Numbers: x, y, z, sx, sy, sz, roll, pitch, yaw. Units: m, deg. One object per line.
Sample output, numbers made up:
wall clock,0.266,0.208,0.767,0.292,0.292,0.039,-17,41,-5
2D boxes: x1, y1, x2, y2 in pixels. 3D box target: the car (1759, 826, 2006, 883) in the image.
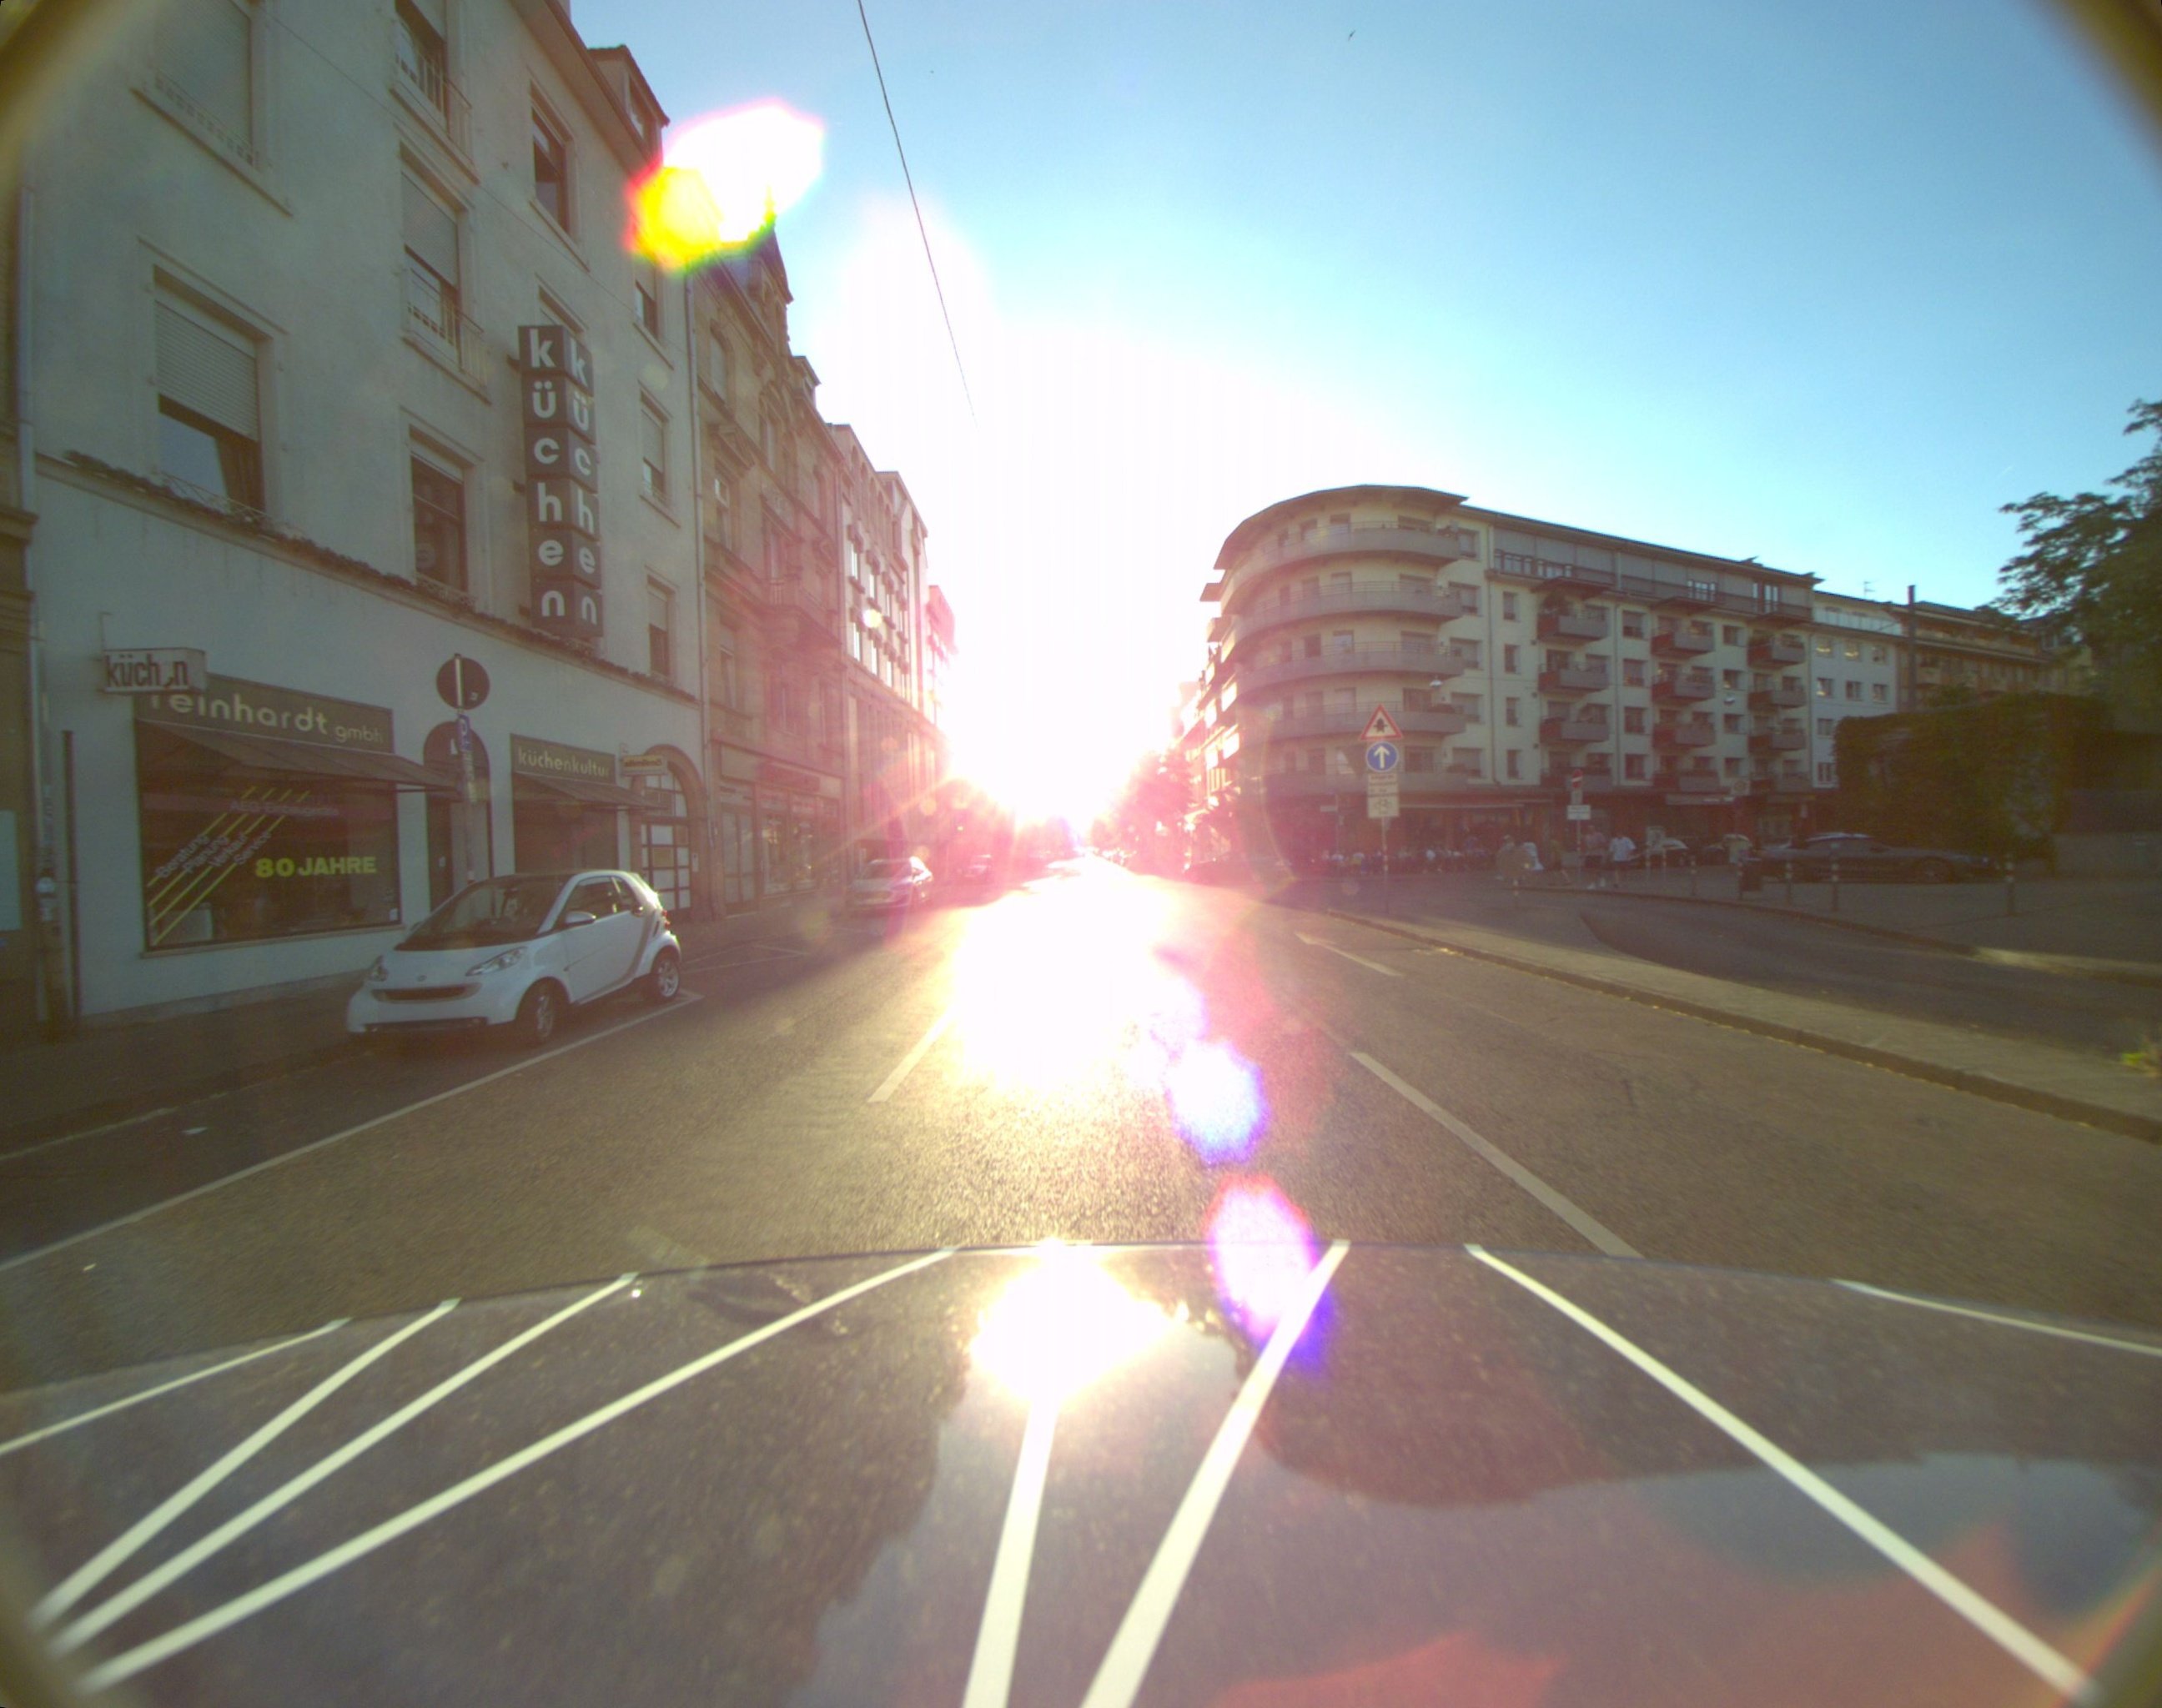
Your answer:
car,22.631,0.045,21.675,2.110,1.422,4.440,-2,-1,-29

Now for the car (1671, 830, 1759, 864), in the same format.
car,34.103,-0.374,40.883,4.142,1.689,1.882,-2,0,-23

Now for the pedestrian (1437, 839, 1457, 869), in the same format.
pedestrian,17.846,0.014,37.052,0.562,1.426,0.666,-2,3,-26

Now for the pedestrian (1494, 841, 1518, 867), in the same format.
pedestrian,21.146,0.004,37.806,0.850,1.271,0.715,0,5,45

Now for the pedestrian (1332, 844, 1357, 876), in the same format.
pedestrian,11.693,0.243,33.748,0.768,1.374,0.841,0,3,41

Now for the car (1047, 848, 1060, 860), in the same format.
car,-3.987,-0.021,111.560,1.756,1.543,4.286,-2,1,0

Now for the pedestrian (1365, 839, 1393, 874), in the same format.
pedestrian,13.465,0.108,34.318,0.854,1.528,0.712,-2,5,-22

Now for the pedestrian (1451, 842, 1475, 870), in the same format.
pedestrian,18.257,0.086,36.324,0.750,1.337,0.654,-2,3,-26

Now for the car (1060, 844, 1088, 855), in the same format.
car,-1.237,-0.799,137.549,4.836,2.002,2.004,-1,1,37

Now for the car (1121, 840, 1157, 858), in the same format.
car,6.991,-0.650,92.043,3.998,2.002,1.999,-2,1,-2

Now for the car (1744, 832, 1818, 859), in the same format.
car,40.294,-0.489,43.714,3.972,1.395,1.750,-2,0,-25

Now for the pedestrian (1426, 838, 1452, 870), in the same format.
pedestrian,17.290,0.011,36.684,0.680,1.527,0.851,-2,0,-26

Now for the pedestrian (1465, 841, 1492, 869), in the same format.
pedestrian,19.255,0.052,36.821,0.852,1.298,0.878,-2,2,-4

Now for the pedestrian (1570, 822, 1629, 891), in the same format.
pedestrian,14.676,0.070,21.515,0.891,1.872,0.983,-2,0,-21

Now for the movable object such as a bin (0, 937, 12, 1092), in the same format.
movable object such as a bin,-8.683,1.242,5.137,0.868,1.180,1.398,-2,1,1

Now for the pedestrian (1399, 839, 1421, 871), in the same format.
pedestrian,15.793,0.042,36.451,0.655,1.528,0.674,-2,3,-25

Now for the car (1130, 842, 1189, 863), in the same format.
car,6.168,-0.124,59.874,4.442,1.533,1.817,-2,1,-1

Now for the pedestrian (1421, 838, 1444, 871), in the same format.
pedestrian,16.680,0.017,36.070,0.701,1.519,0.649,-2,5,-27

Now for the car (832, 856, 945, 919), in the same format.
car,-5.290,0.878,21.553,1.999,1.526,4.682,-2,-1,0

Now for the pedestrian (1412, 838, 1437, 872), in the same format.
pedestrian,16.070,0.038,35.549,0.760,1.528,0.712,-2,5,-27

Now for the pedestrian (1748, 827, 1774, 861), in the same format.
pedestrian,37.740,-0.540,42.190,1.005,1.816,0.948,-2,0,39

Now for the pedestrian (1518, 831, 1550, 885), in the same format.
pedestrian,15.567,0.136,26.088,0.712,1.792,0.884,-2,0,43

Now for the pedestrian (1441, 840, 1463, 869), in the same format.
pedestrian,18.433,0.013,37.772,0.603,1.413,0.713,-2,0,-24

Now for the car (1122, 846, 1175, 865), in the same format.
car,5.498,0.111,62.148,3.998,1.412,1.999,-2,1,-3

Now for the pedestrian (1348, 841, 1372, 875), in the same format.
pedestrian,12.614,0.172,34.332,0.689,1.527,0.714,2,1,-7

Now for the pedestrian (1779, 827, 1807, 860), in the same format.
pedestrian,38.479,-0.552,41.052,0.704,1.717,0.919,-2,1,-28

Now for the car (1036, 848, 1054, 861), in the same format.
car,-4.440,0.047,94.695,1.999,1.543,3.999,-2,1,0

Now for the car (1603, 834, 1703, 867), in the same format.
car,29.183,-0.176,38.751,4.635,1.543,1.877,-2,0,-21

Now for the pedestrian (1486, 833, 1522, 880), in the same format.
pedestrian,16.682,0.105,29.963,0.870,1.783,0.850,-2,0,-21

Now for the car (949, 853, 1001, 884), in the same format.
car,-5.485,0.722,39.795,1.998,1.511,4.000,-1,0,1

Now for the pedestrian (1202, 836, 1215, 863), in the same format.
pedestrian,9.415,-0.317,55.978,0.730,1.937,0.804,-2,1,-5

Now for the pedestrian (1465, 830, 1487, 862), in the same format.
pedestrian,21.095,-0.433,40.570,0.669,1.710,0.717,-2,1,-24

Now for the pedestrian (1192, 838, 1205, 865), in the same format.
pedestrian,8.636,-0.212,55.823,0.730,1.937,0.740,-2,1,-5

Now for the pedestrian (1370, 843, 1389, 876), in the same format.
pedestrian,14.128,0.261,35.965,0.647,1.527,0.753,-2,0,9

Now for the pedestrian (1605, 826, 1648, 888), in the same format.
pedestrian,16.210,0.091,22.577,0.982,1.783,0.892,-2,0,37

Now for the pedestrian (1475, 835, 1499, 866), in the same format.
pedestrian,20.524,-0.159,38.420,0.851,1.527,0.716,-2,0,45

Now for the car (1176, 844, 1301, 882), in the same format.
car,6.405,0.378,31.009,4.604,1.400,1.813,-1,2,30

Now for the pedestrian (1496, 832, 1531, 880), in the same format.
pedestrian,16.466,0.064,28.938,0.737,1.783,0.811,-2,0,-21

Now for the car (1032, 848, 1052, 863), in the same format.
car,-4.440,0.144,86.895,1.999,1.543,3.999,-2,1,0

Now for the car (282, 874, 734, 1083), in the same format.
car,-5.541,1.062,8.126,1.704,1.575,4.000,-2,-1,1

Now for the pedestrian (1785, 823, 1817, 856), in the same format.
pedestrian,37.947,-0.750,40.043,0.921,1.717,0.833,-2,1,-11

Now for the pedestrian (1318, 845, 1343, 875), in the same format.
pedestrian,11.309,0.281,34.452,0.684,1.275,0.969,-1,3,42

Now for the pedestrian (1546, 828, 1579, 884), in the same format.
pedestrian,16.470,0.088,25.996,0.850,1.865,0.716,-2,0,29

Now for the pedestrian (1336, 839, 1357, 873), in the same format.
pedestrian,12.412,0.084,35.560,0.712,1.527,0.855,-2,0,32

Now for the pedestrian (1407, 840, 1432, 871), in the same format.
pedestrian,16.390,0.064,36.833,0.784,1.495,0.768,-2,1,-26

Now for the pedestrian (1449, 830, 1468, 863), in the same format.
pedestrian,19.928,-0.395,40.163,0.618,1.728,0.611,-2,1,-24
